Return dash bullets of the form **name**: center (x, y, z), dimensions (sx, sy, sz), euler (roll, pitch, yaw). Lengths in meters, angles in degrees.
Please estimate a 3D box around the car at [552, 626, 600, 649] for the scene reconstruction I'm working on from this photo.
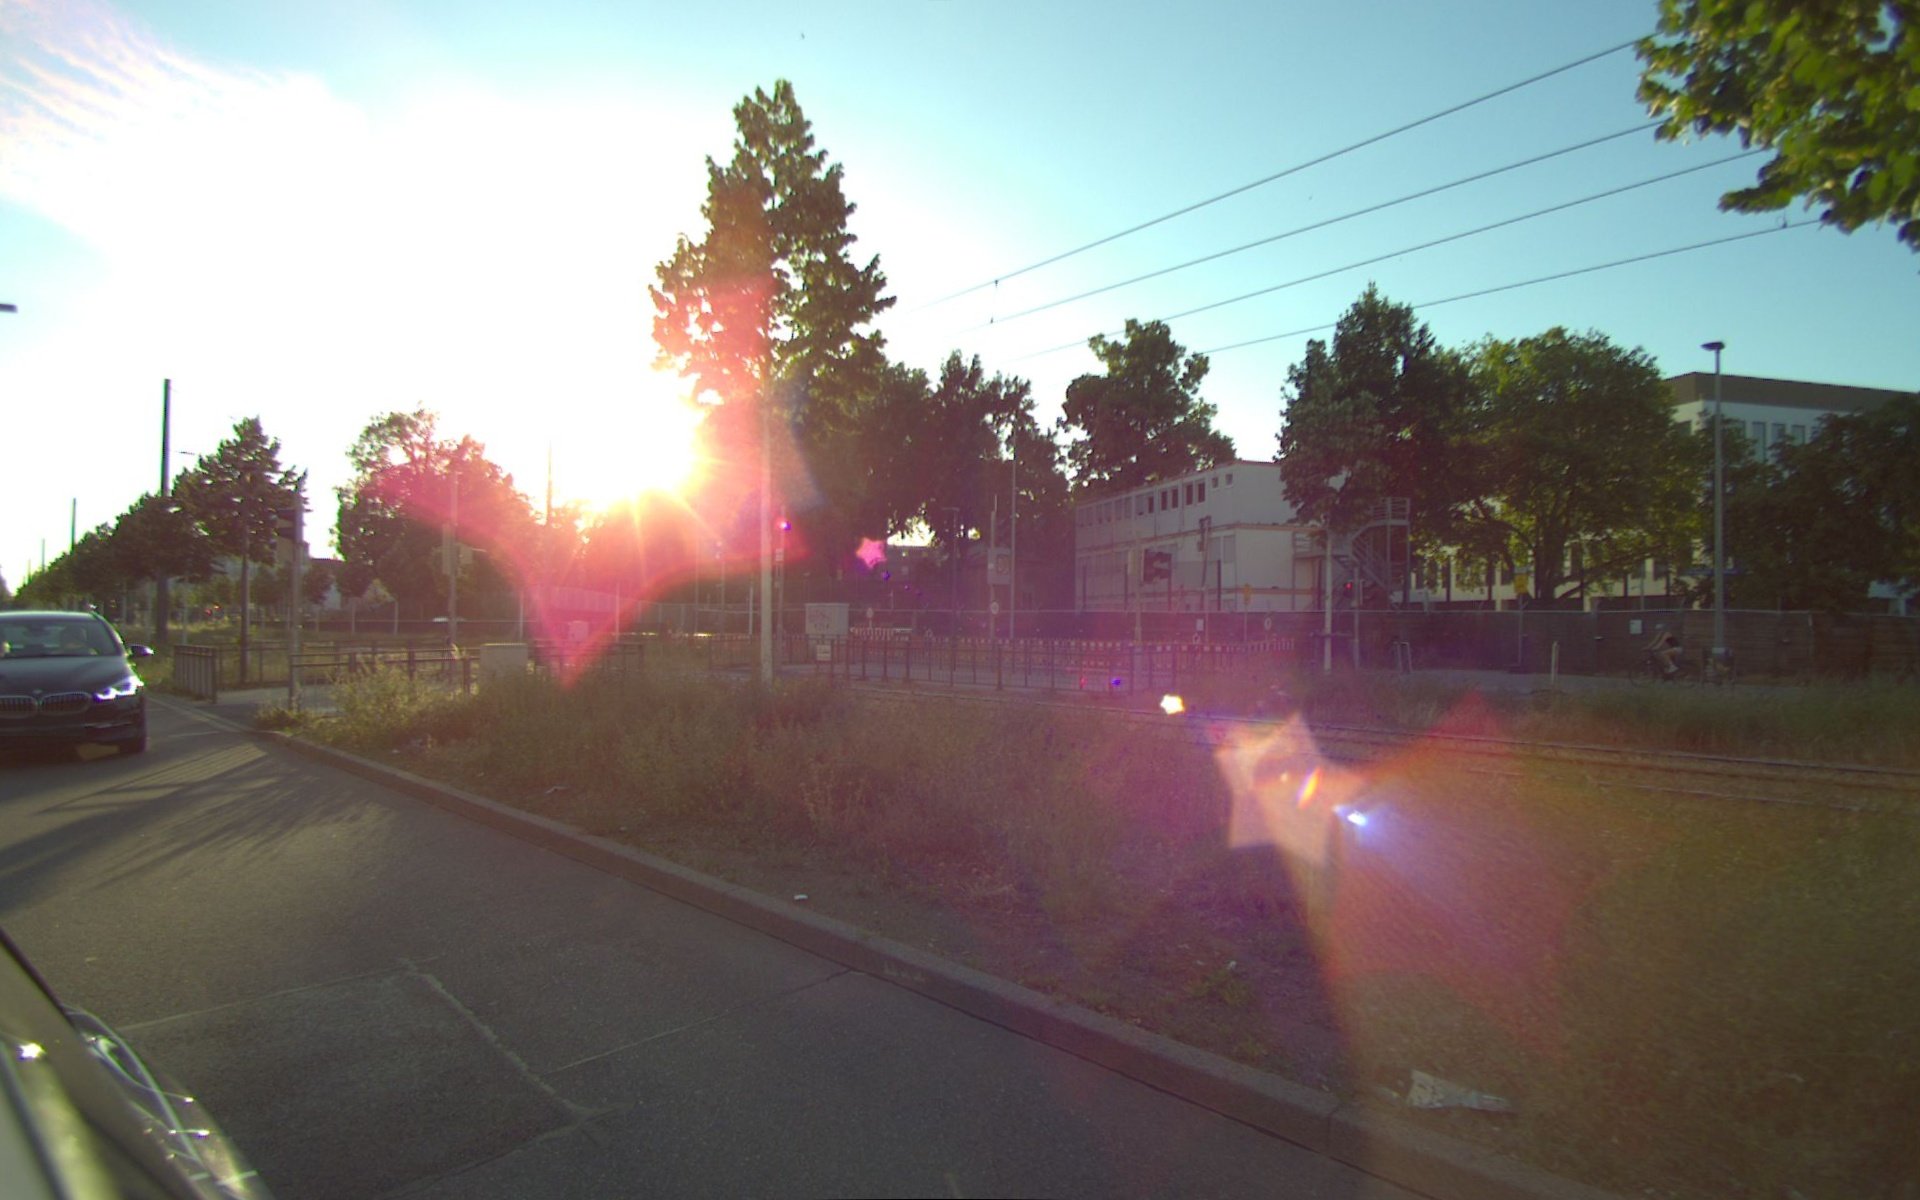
- **car**: center (-24.966, 2.421, 65.712), dimensions (1.671, 1.380, 3.699), euler (-1, -1, -42)

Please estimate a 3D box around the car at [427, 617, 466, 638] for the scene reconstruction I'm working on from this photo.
- **car**: center (-41.331, 2.208, 81.406), dimensions (1.822, 1.572, 3.803), euler (-1, -1, -44)

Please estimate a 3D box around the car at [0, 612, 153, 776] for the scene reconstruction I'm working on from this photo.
- **car**: center (-10.523, 0.946, 11.531), dimensions (1.798, 1.530, 4.797), euler (0, -1, -42)

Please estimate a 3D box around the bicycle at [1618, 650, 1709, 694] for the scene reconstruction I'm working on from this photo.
- **bicycle**: center (19.350, 1.984, 27.888), dimensions (1.880, 1.142, 0.713), euler (-2, 0, 14)

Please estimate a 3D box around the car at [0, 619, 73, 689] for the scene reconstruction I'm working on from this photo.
- **car**: center (-22.134, 1.238, 23.712), dimensions (1.807, 1.475, 4.306), euler (-1, -1, -44)

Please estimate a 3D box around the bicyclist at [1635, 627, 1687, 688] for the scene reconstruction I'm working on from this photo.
- **bicyclist**: center (19.321, 1.584, 27.896), dimensions (0.935, 1.633, 0.714), euler (-2, -1, 14)
